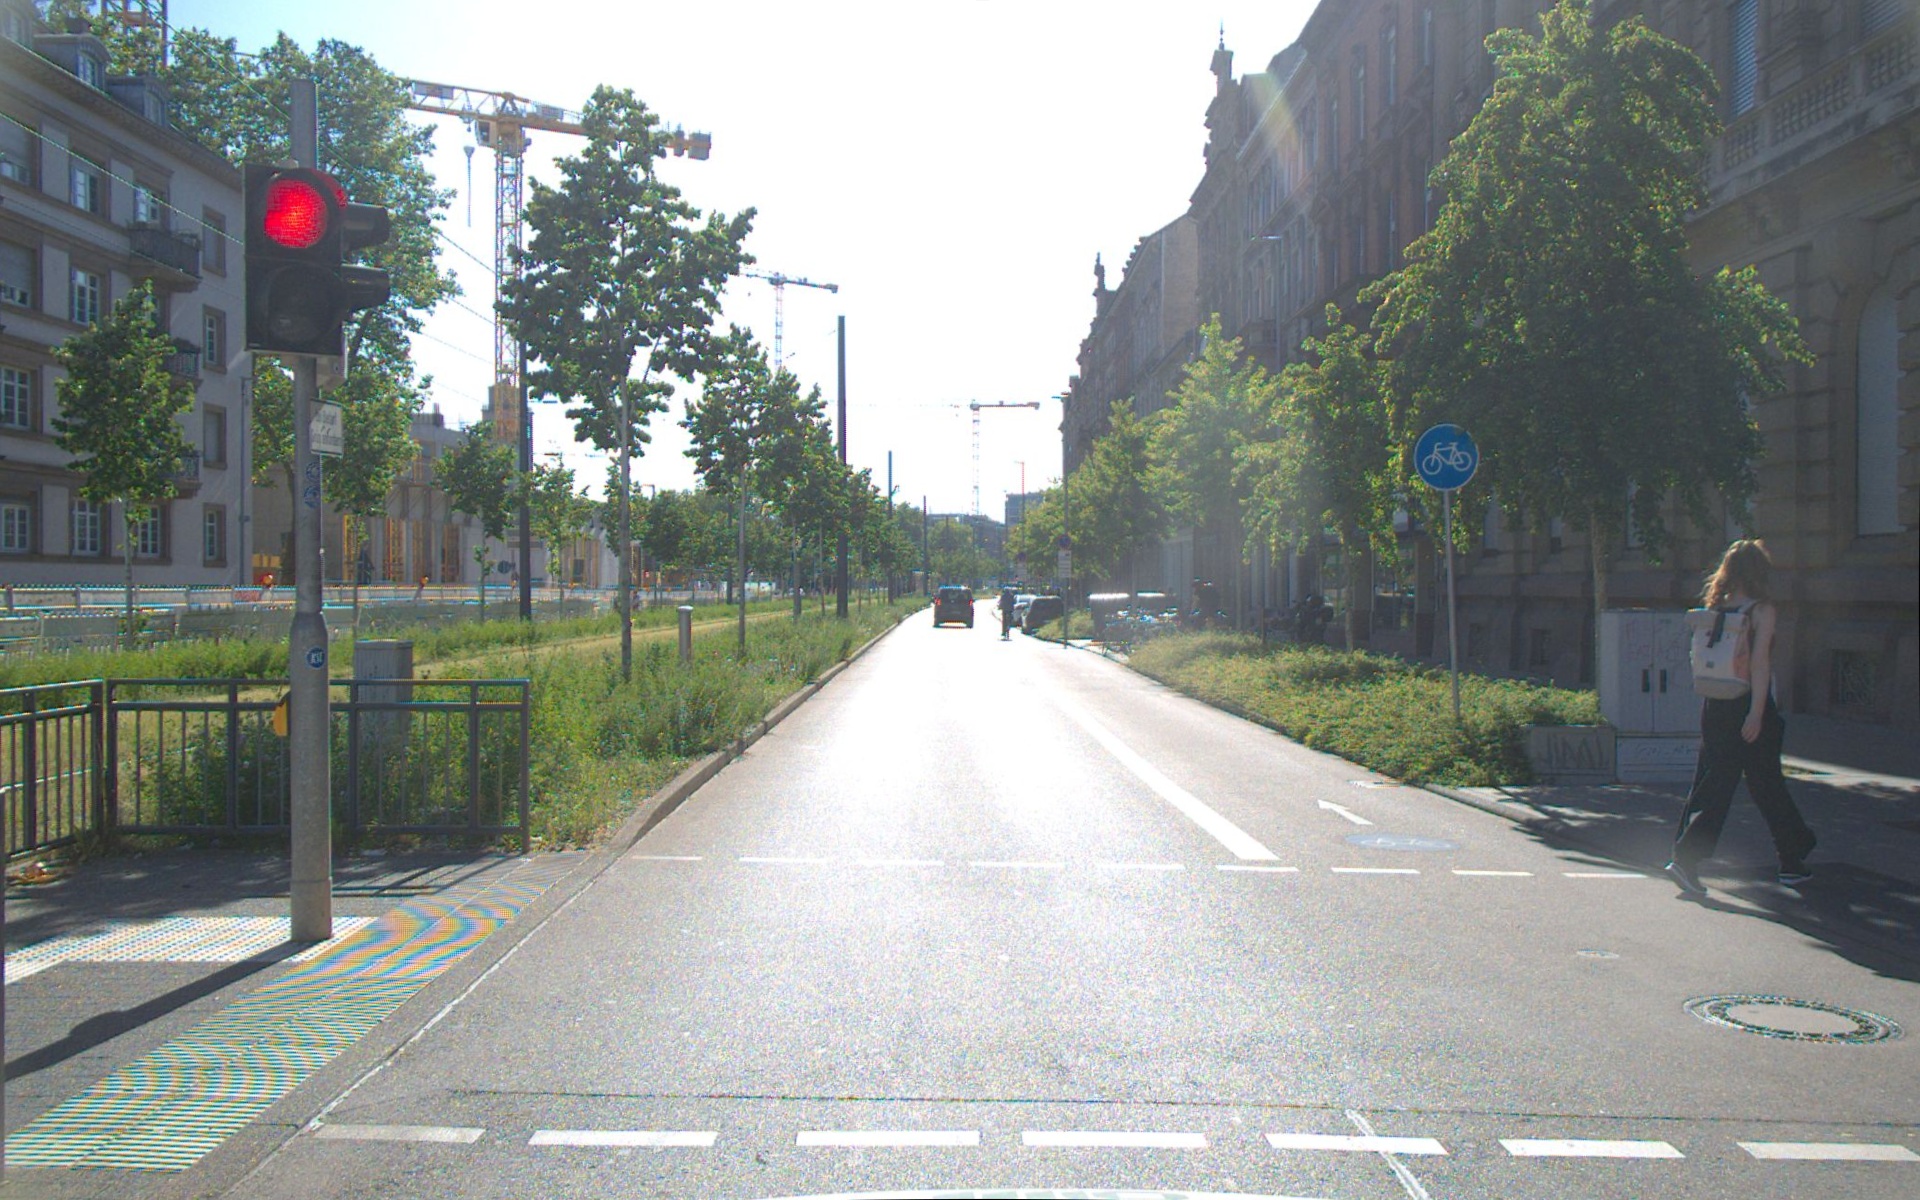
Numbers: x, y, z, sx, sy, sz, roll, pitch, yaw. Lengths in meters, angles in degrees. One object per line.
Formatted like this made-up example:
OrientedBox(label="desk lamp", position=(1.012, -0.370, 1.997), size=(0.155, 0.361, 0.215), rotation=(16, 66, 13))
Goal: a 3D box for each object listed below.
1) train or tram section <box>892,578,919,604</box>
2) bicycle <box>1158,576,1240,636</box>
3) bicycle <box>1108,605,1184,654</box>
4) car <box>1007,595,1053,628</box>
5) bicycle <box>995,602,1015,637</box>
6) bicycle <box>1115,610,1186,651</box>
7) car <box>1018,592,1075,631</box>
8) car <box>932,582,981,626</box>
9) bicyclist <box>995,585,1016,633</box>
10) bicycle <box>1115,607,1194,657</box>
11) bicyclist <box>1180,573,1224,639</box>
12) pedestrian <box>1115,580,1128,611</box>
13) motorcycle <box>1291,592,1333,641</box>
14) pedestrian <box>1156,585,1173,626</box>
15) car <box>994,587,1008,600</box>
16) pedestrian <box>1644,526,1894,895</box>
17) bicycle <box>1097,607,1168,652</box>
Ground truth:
OrientedBox(label="train or tram section", position=(-6.108, -0.976, 187.349), size=(2.700, 2.790, 9.863), rotation=(1, 0, 0))
OrientedBox(label="bicycle", position=(5.956, 0.155, 41.219), size=(1.860, 1.353, 0.616), rotation=(-4, 0, 33))
OrientedBox(label="bicycle", position=(4.613, 0.733, 41.132), size=(1.756, 1.048, 0.527), rotation=(-4, 0, -1))
OrientedBox(label="car", position=(3.345, 0.516, 79.818), size=(1.987, 1.525, 4.529), rotation=(0, 0, -1))
OrientedBox(label="bicycle", position=(1.594, 0.677, 58.759), size=(0.589, 1.201, 1.869), rotation=(2, 0, -1))
OrientedBox(label="bicycle", position=(4.885, 0.781, 42.556), size=(1.756, 1.048, 0.527), rotation=(0, 0, -1))
OrientedBox(label="car", position=(3.483, 0.459, 67.473), size=(1.987, 1.525, 4.653), rotation=(0, 0, -1))
OrientedBox(label="car", position=(-0.188, 0.160, 76.279), size=(2.155, 1.960, 4.653), rotation=(0, 0, -1))
OrientedBox(label="bicyclist", position=(1.614, 0.317, 58.950), size=(0.670, 1.702, 0.922), rotation=(2, 0, -2))
OrientedBox(label="bicycle", position=(4.642, 0.756, 39.591), size=(1.756, 1.048, 0.527), rotation=(-4, 0, -1))
OrientedBox(label="bicyclist", position=(6.029, 0.145, 41.164), size=(0.784, 1.556, 0.661), rotation=(-4, 0, 33))
OrientedBox(label="pedestrian", position=(8.602, -0.222, 88.213), size=(0.601, 1.640, 0.669), rotation=(0, 0, -1))
OrientedBox(label="motorcycle", position=(9.411, 0.428, 44.295), size=(0.686, 1.289, 1.981), rotation=(0, 0, -1))
OrientedBox(label="pedestrian", position=(8.280, 0.216, 66.979), size=(0.601, 1.640, 0.669), rotation=(0, 0, -1))
OrientedBox(label="car", position=(5.969, -0.933, 240.685), size=(1.953, 1.759, 3.999), rotation=(1, 0, -1))
OrientedBox(label="pedestrian", position=(4.439, 0.576, 9.115), size=(1.055, 1.942, 0.652), rotation=(0, 0, -7))
OrientedBox(label="bicycle", position=(4.584, 0.778, 43.975), size=(1.756, 1.048, 0.527), rotation=(-4, 0, -1))
